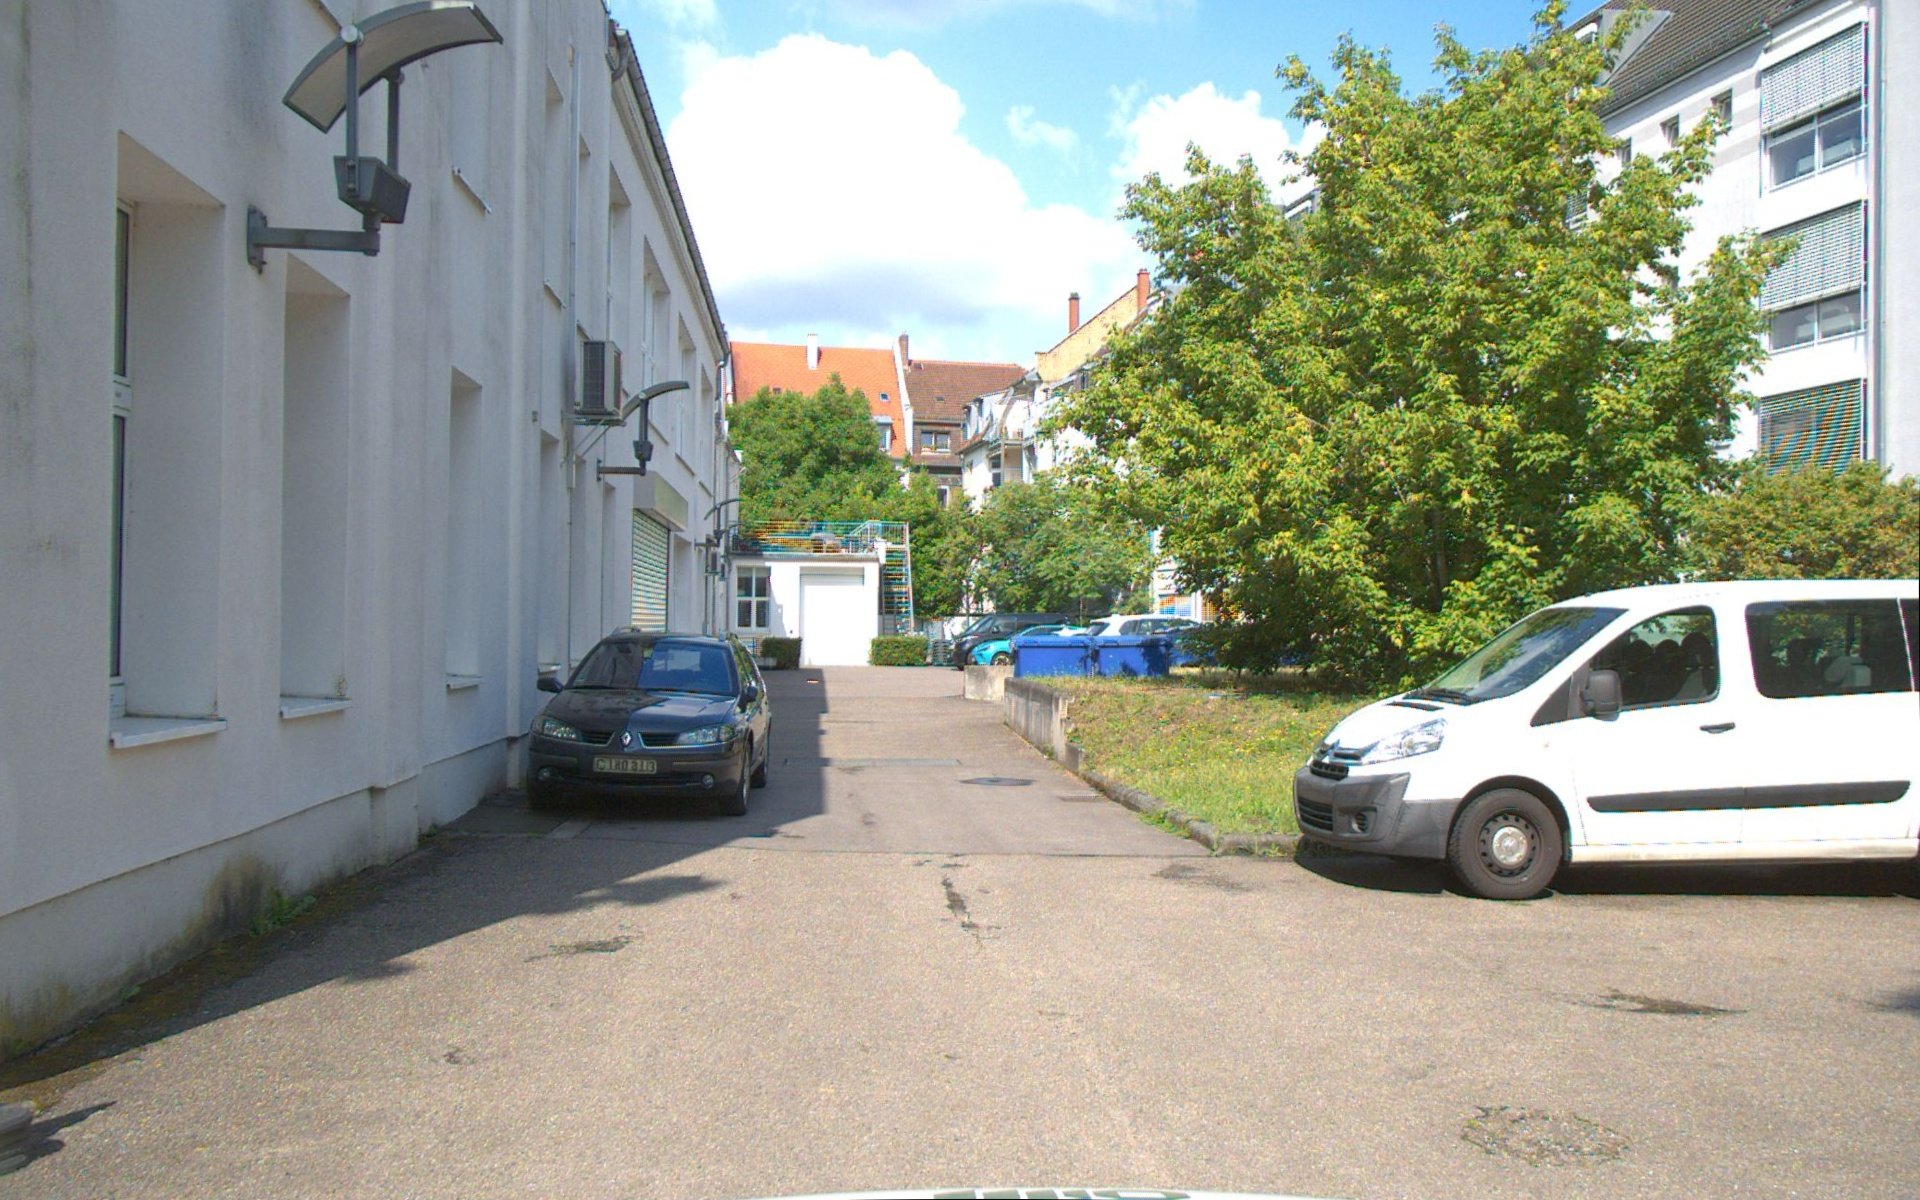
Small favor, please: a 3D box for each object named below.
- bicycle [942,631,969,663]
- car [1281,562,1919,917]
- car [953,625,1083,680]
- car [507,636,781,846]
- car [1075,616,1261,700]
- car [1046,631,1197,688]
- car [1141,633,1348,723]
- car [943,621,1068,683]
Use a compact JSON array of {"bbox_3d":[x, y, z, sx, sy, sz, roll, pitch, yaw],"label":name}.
[{"bbox_3d":[-0.194,1.873,66.108,0.630,1.136,1.852,3,1,-14],"label":"bicycle"},{"bbox_3d":[4.714,0.862,10.656,4.841,1.999,1.998,1,-2,-4],"label":"car"},{"bbox_3d":[1.860,1.689,53.504,3.915,1.601,1.625,1,3,-11],"label":"car"},{"bbox_3d":[-2.563,1.094,14.389,1.843,1.467,4.335,3,-1,-5],"label":"car"},{"bbox_3d":[4.850,1.352,38.819,3.915,1.776,1.945,1,2,-11],"label":"car"},{"bbox_3d":[4.529,1.657,46.572,3.915,1.469,1.625,0,3,-11],"label":"car"},{"bbox_3d":[6.167,1.684,36.029,4.039,1.634,1.751,3,1,-11],"label":"car"},{"bbox_3d":[1.540,1.759,56.262,3.915,1.848,1.660,3,1,-11],"label":"car"}]
